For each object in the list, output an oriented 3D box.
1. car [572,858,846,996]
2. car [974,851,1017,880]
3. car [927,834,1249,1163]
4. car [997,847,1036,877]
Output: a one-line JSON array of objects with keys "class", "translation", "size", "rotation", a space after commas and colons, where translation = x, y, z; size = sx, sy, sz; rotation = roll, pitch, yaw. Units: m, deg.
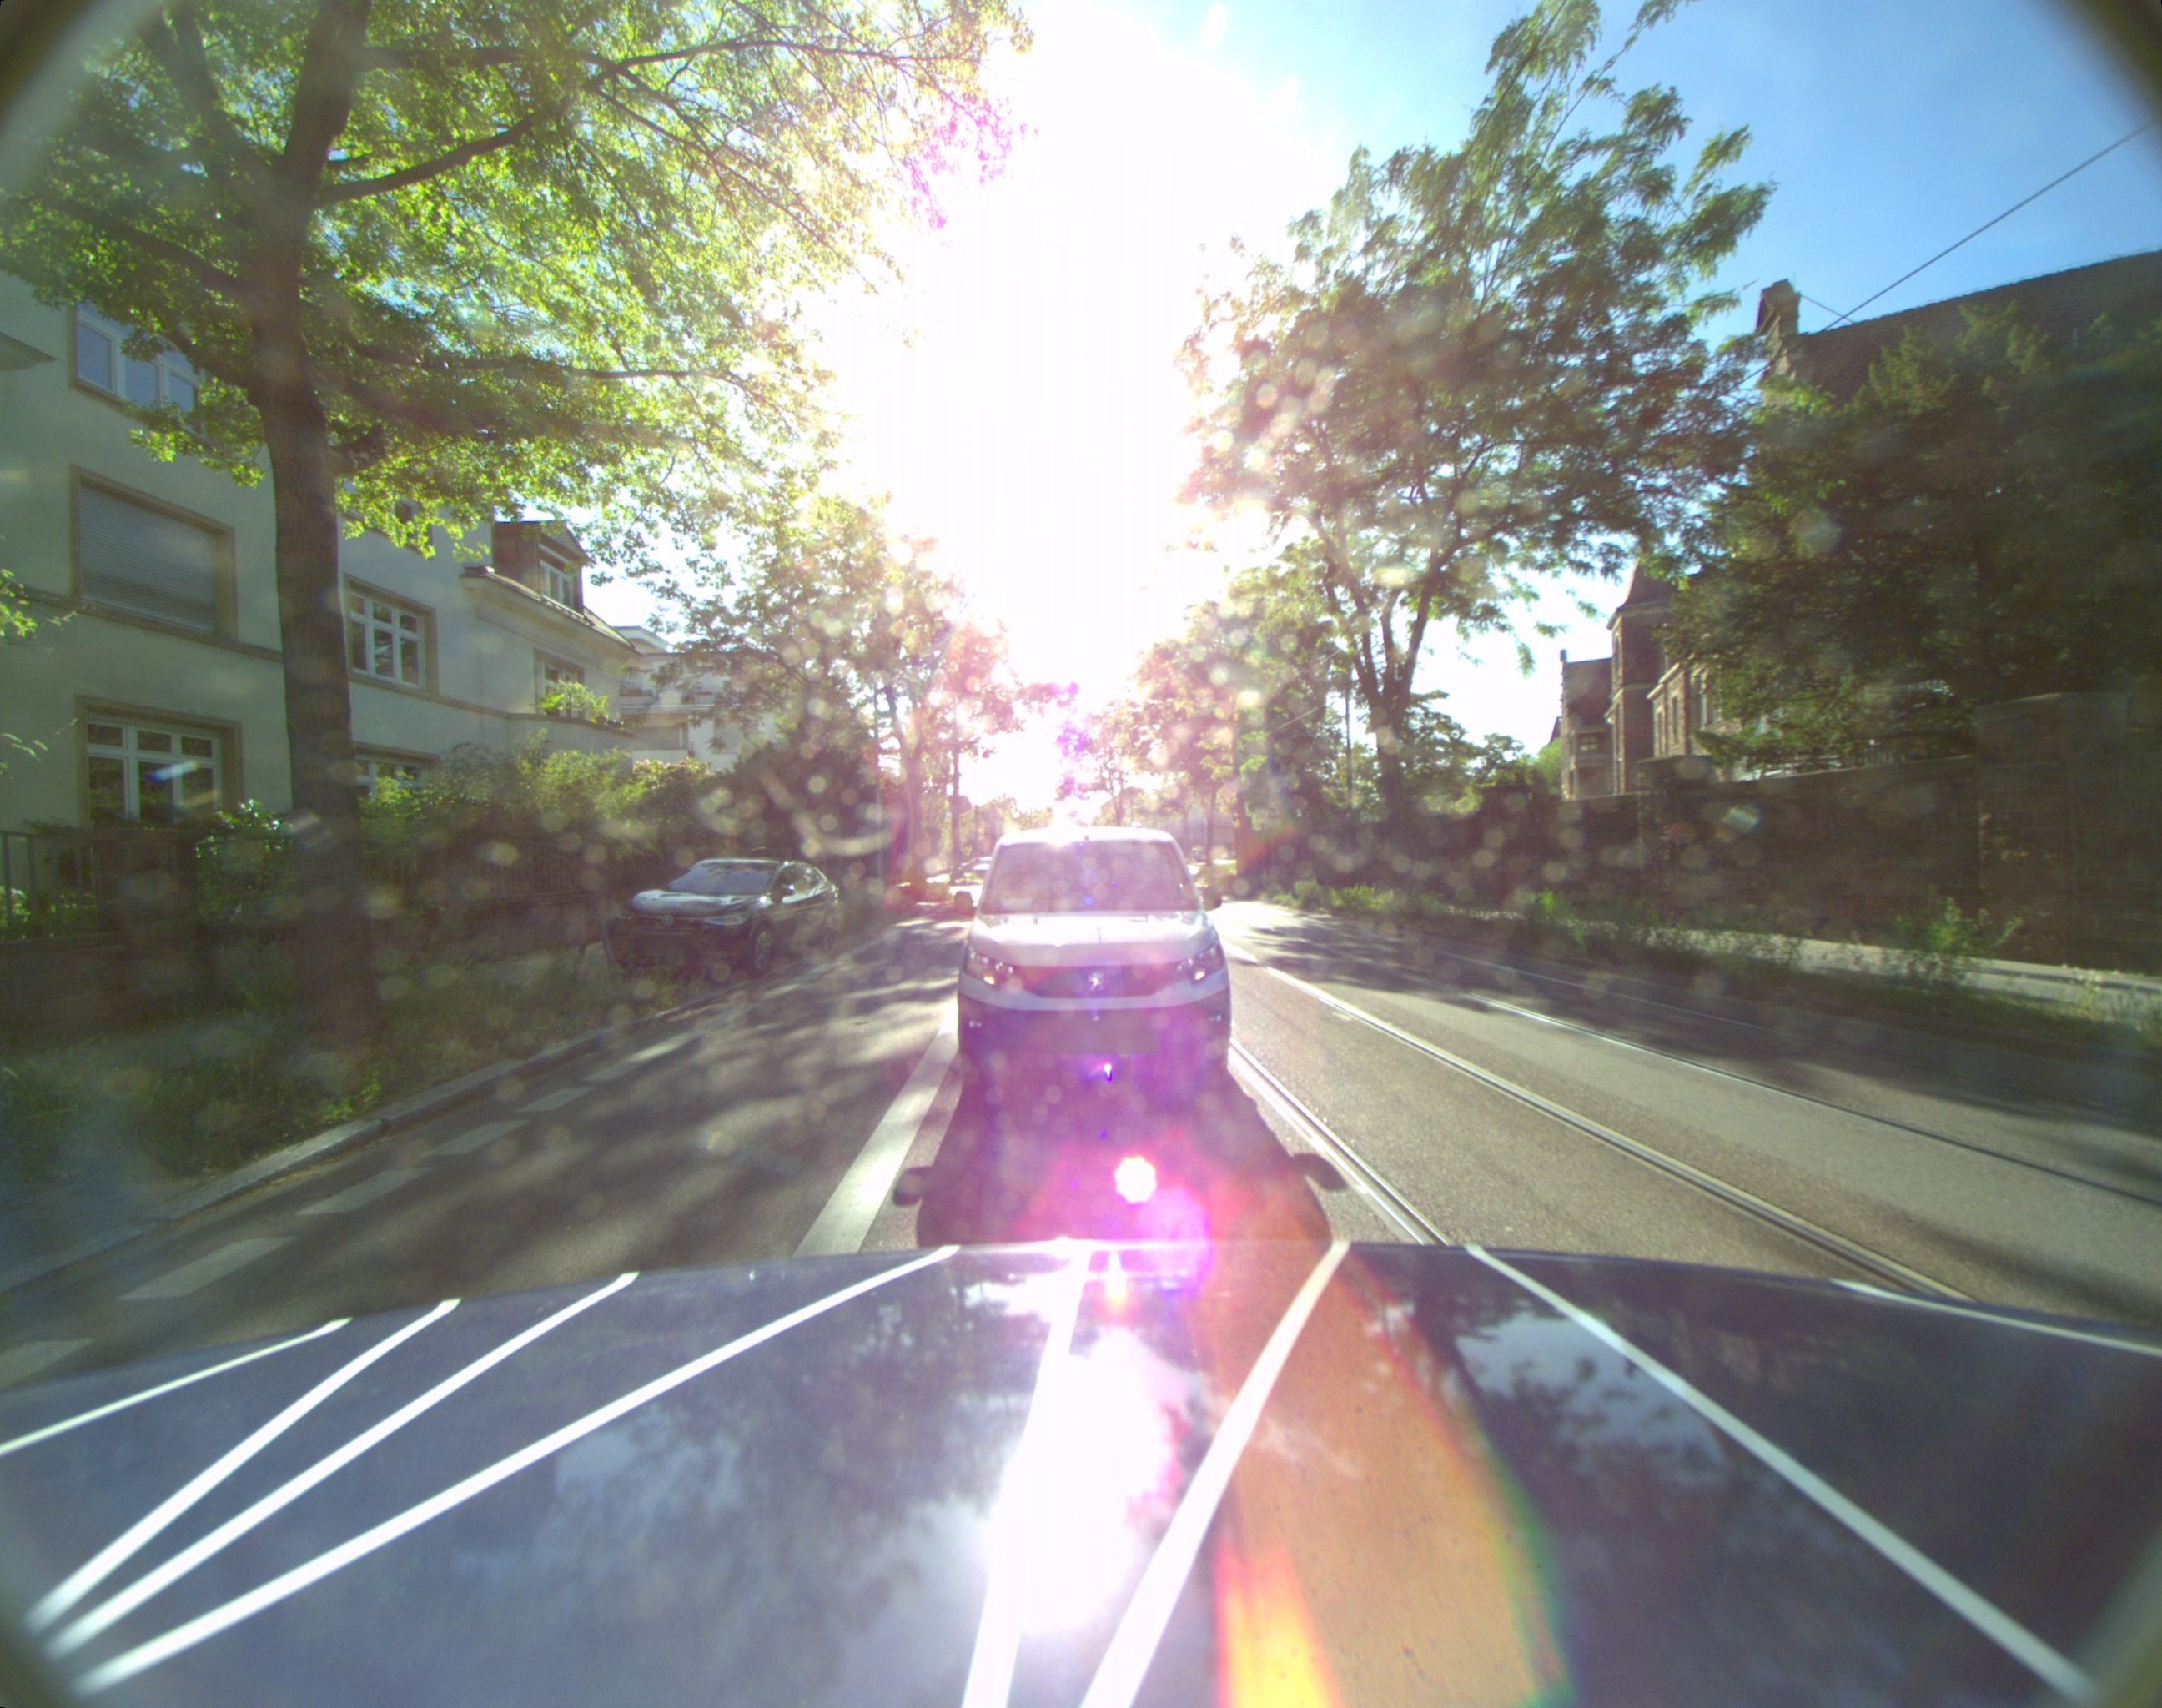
[{"class": "car", "translation": [-5.253, 0.931, 11.544], "size": [1.999, 1.665, 4.380], "rotation": [1, -1, 0]}, {"class": "car", "translation": [-5.045, 0.650, 45.217], "size": [1.823, 1.630, 4.001], "rotation": [-2, 0, 4]}, {"class": "car", "translation": [0.032, 0.797, 6.230], "size": [1.768, 1.812, 3.999], "rotation": [-1, 0, 0]}, {"class": "car", "translation": [-4.361, 0.491, 51.778], "size": [2.129, 1.884, 4.746], "rotation": [-2, 0, 1]}]
